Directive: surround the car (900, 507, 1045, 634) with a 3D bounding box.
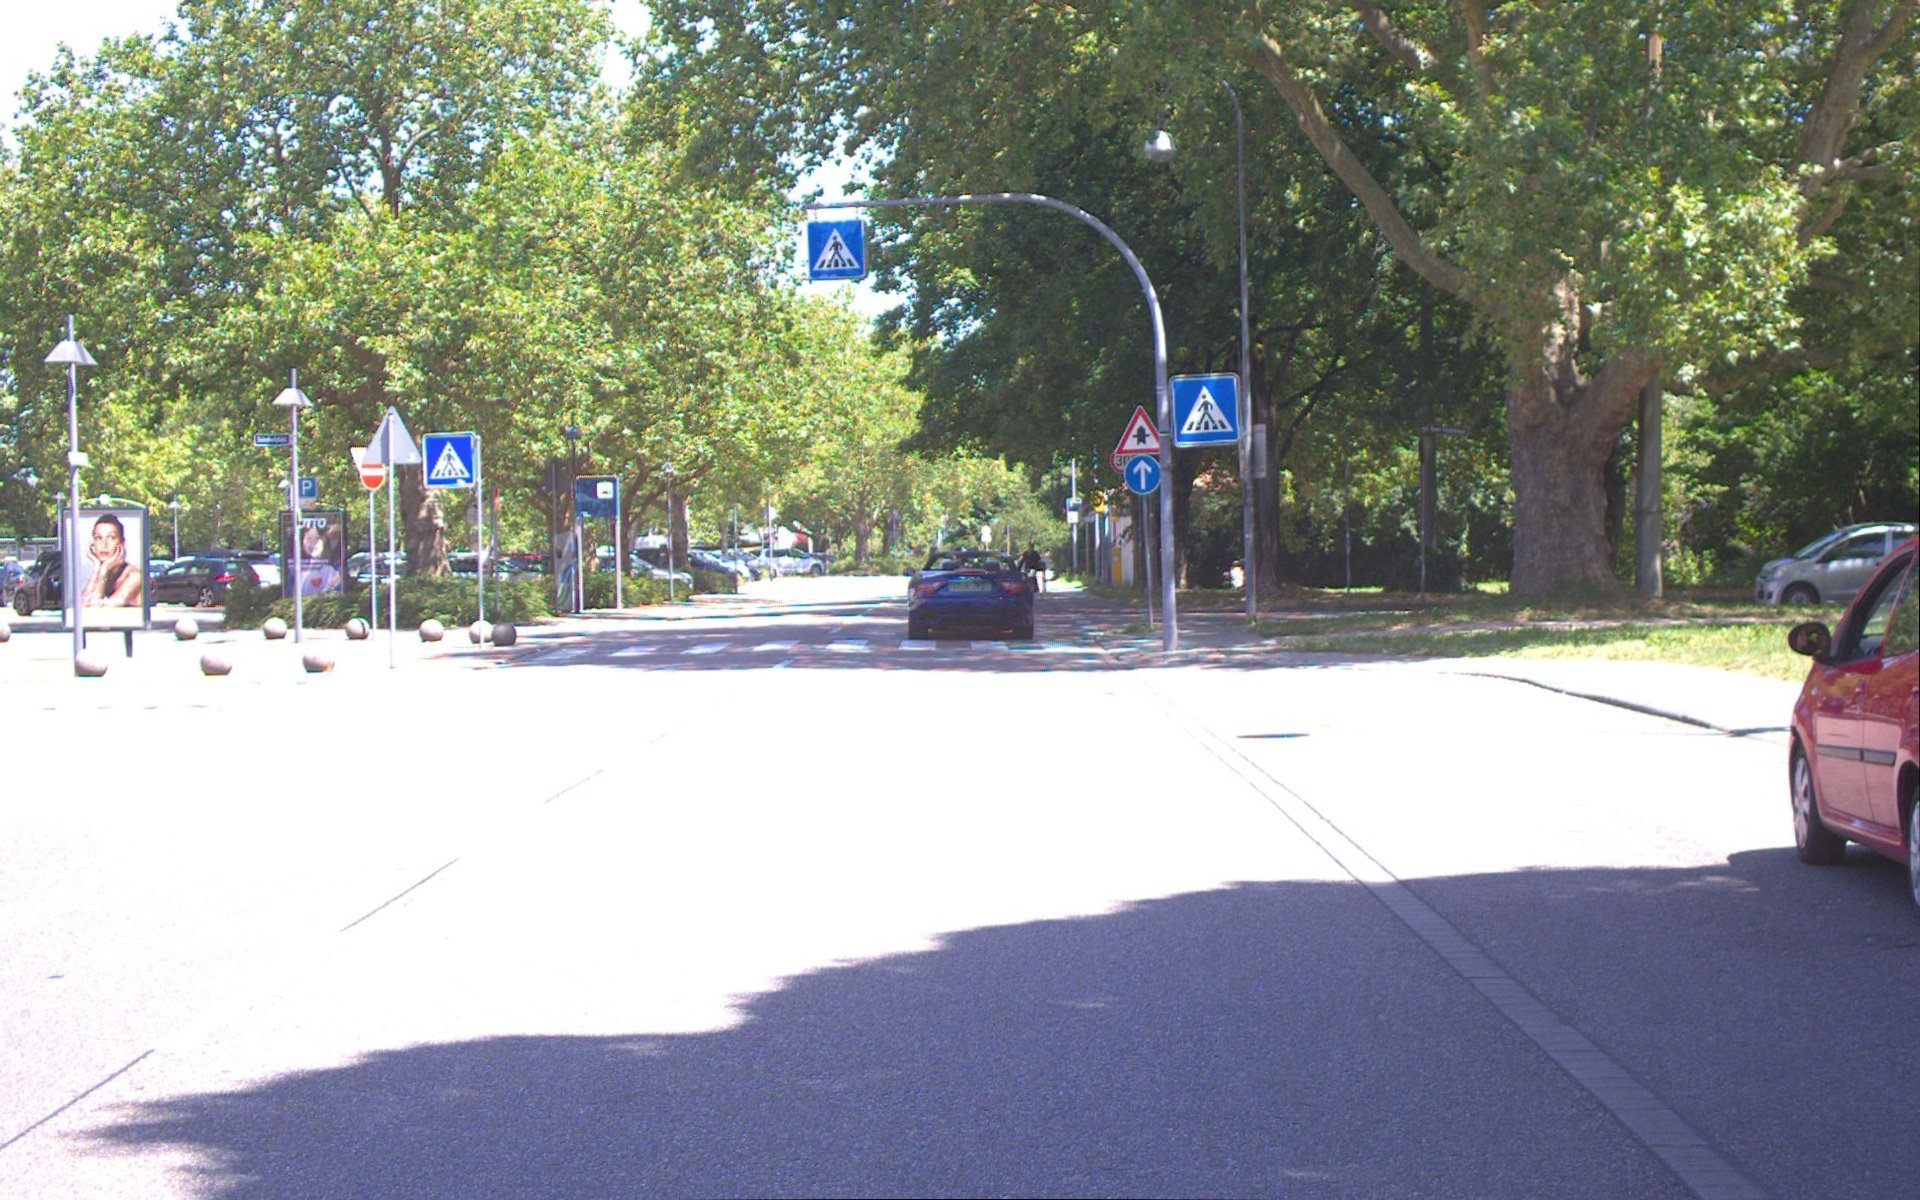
[{"bbox_3d":[0.164,-0.457,52.497,2.125,1.842,4.048,0,1,0],"label":"car"}]

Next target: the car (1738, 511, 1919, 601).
[{"bbox_3d":[15.531,-0.772,58.646,4.105,1.461,2.000,-1,1,3],"label":"car"}]

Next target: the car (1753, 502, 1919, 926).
[{"bbox_3d":[4.296,0.347,13.513,1.719,1.473,3.705,-1,1,4],"label":"car"}]

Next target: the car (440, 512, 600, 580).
[{"bbox_3d":[-11.985,-1.465,93.611,3.986,1.775,2.001,-1,0,-18],"label":"car"}]
